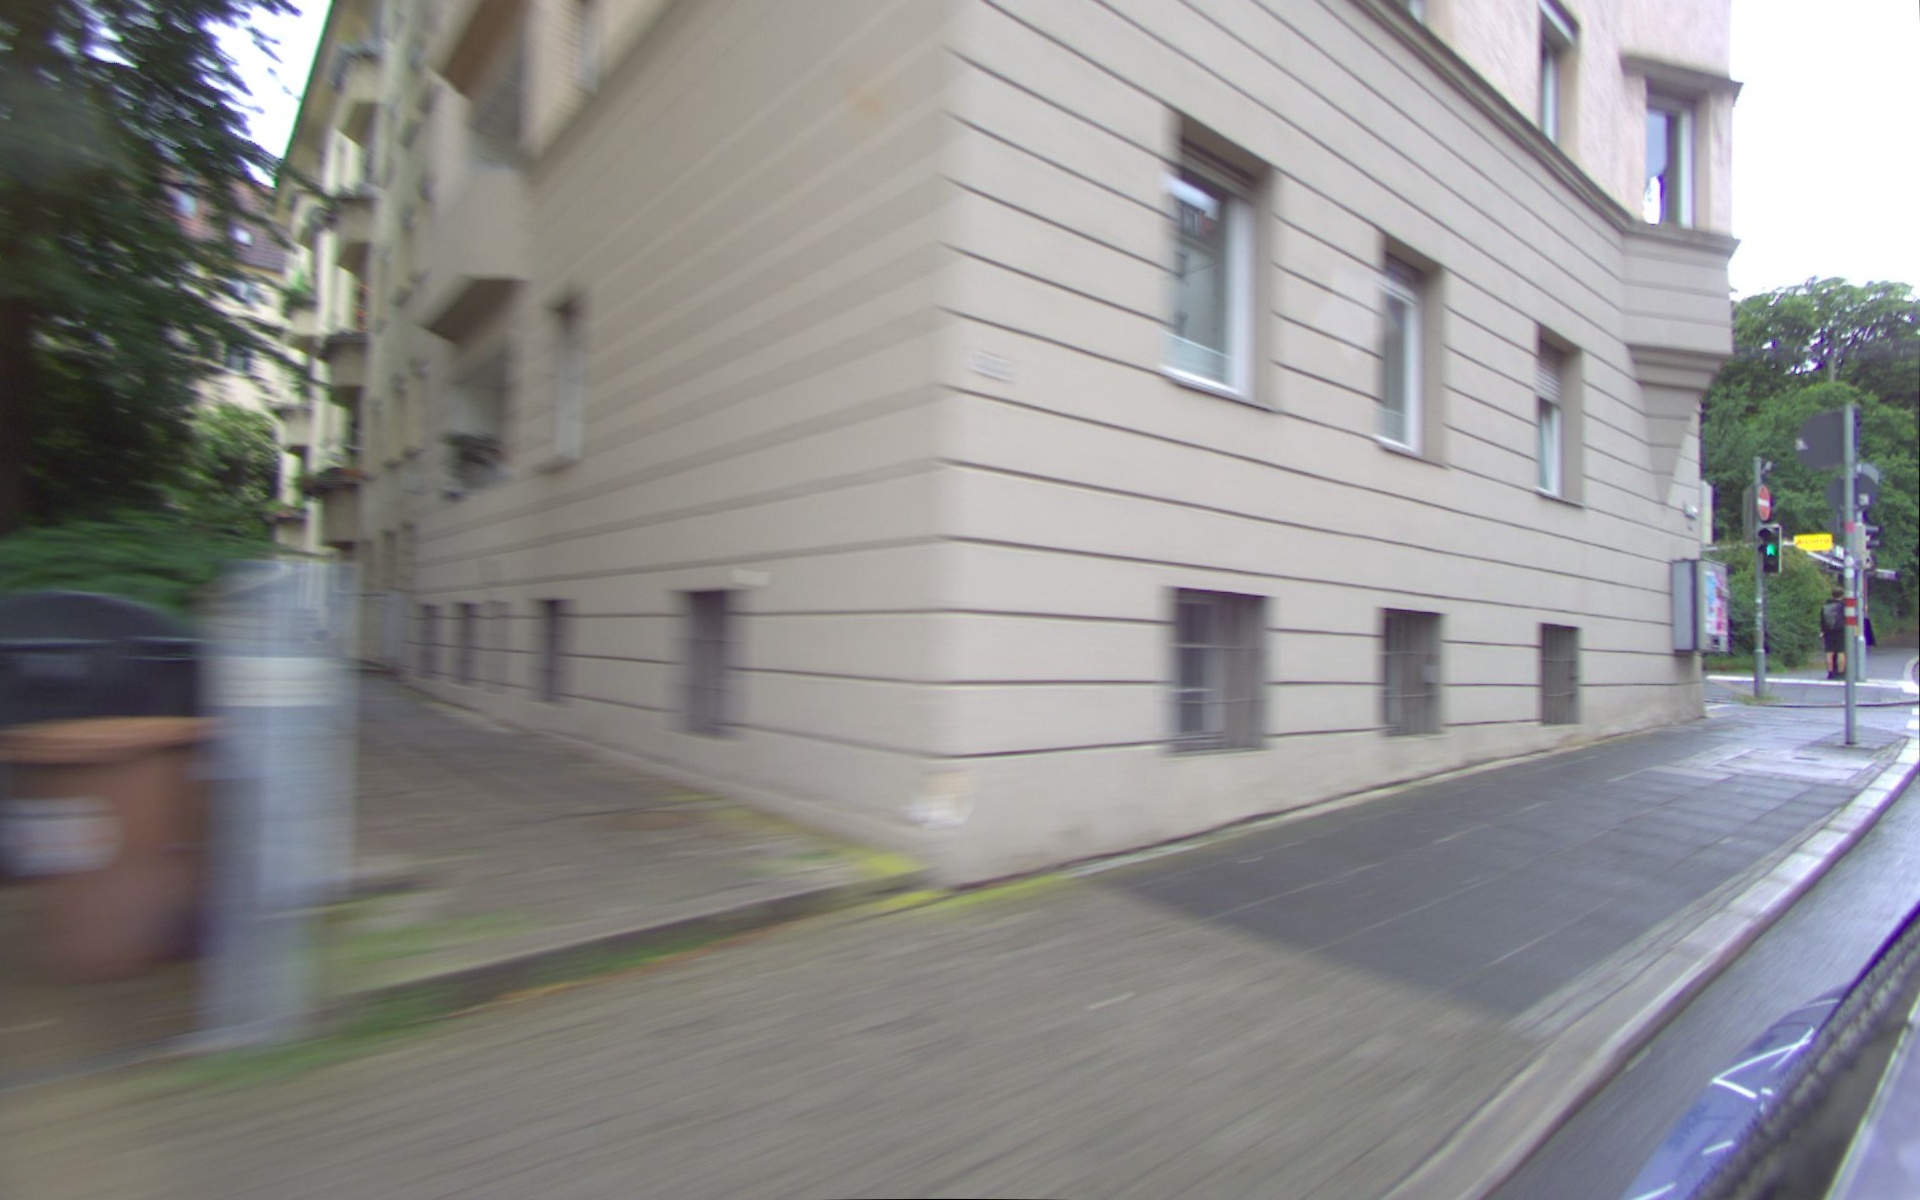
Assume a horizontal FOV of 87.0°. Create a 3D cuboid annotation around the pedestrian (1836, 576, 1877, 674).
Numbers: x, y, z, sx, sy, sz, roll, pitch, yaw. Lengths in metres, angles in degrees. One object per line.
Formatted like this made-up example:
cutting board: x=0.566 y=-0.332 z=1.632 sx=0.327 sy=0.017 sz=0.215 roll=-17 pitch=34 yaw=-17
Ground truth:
pedestrian: x=18.093 y=0.497 z=20.419 sx=0.594 sy=1.940 sz=0.546 roll=0 pitch=-1 yaw=-42
